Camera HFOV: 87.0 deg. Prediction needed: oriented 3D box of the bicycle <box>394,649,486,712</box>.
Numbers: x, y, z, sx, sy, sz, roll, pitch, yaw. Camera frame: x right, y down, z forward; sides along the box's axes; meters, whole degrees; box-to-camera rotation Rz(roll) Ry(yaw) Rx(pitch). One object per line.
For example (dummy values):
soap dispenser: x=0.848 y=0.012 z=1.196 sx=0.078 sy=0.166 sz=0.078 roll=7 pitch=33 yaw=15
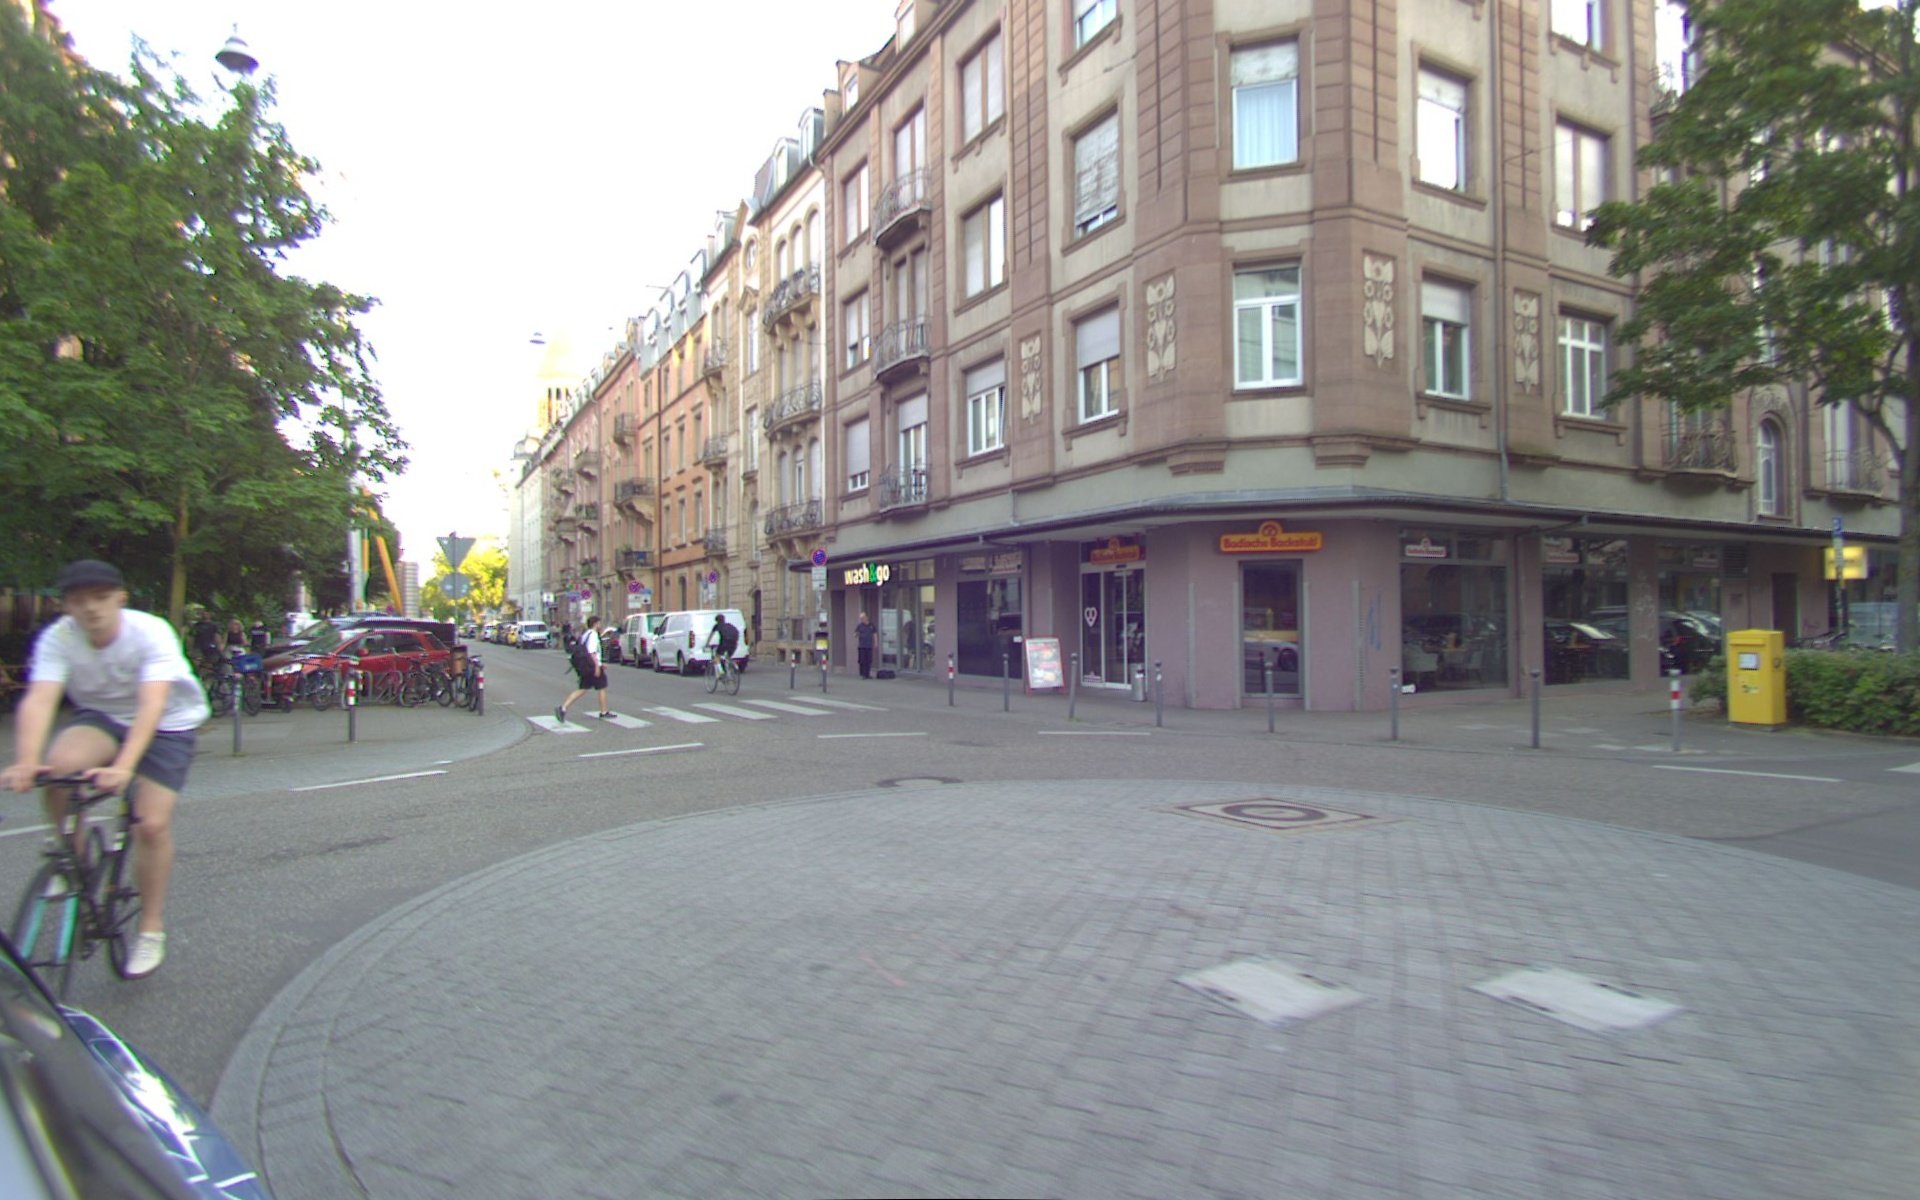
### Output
bicycle: x=-10.499 y=1.600 z=20.407 sx=2.110 sy=1.178 sz=0.658 roll=-1 pitch=-3 yaw=34

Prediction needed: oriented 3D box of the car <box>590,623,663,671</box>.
car: x=-14.036 y=1.911 z=42.437 sx=2.106 sy=1.835 sz=4.554 roll=-1 pitch=-1 yaw=-29

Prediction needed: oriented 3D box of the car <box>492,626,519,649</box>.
car: x=-37.844 y=3.061 z=84.223 sx=1.965 sy=1.752 sz=4.013 roll=-1 pitch=0 yaw=-26

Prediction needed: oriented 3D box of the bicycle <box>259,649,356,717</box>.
bicycle: x=-11.890 y=1.484 z=18.425 sx=2.110 sy=1.140 sz=0.658 roll=-1 pitch=-3 yaw=34

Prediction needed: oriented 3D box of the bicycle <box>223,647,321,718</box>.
bicycle: x=-12.198 y=1.435 z=17.923 sx=2.110 sy=1.174 sz=0.658 roll=-1 pitch=-3 yaw=34

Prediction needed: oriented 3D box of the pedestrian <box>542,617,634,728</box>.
pedestrian: x=-6.212 y=1.178 z=16.937 sx=0.747 sy=1.757 sz=1.198 roll=-2 pitch=-1 yaw=35

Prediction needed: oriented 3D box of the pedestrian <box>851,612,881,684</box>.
pedestrian: x=-2.417 y=1.217 z=25.971 sx=0.645 sy=1.792 sz=0.693 roll=-2 pitch=-2 yaw=-11

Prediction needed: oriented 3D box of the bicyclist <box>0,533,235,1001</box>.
bicyclist: x=-3.199 y=0.541 z=3.789 sx=0.639 sy=1.520 sz=0.956 roll=-1 pitch=0 yaw=-27

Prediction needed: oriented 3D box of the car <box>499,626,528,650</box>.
car: x=-35.273 y=2.996 z=79.883 sx=1.965 sy=1.752 sz=4.013 roll=-1 pitch=0 yaw=-26

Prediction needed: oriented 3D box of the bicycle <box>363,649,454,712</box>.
bicycle: x=-11.048 y=1.586 z=20.245 sx=2.110 sy=1.178 sz=0.658 roll=-1 pitch=-3 yaw=34

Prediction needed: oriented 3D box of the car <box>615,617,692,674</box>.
car: x=-11.287 y=1.615 z=37.106 sx=1.848 sy=1.918 sz=4.340 roll=-1 pitch=-1 yaw=-29

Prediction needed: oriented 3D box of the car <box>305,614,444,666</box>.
car: x=-27.038 y=1.782 z=46.883 sx=2.333 sy=2.211 sz=5.085 roll=-1 pitch=0 yaw=35

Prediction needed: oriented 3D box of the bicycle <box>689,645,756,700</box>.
bicycle: x=-5.270 y=1.576 z=22.332 sx=0.742 sy=1.139 sz=1.981 roll=0 pitch=-2 yaw=-35

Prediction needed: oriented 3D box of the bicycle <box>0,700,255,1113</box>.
bicycle: x=-3.221 y=0.989 z=3.826 sx=0.647 sy=1.026 sz=1.924 roll=-1 pitch=0 yaw=-27

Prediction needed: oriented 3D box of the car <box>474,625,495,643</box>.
car: x=-50.074 y=3.610 z=106.574 sx=1.897 sy=1.752 sz=3.909 roll=-1 pitch=0 yaw=-26

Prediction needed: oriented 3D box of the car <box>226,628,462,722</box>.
car: x=-13.085 y=1.516 z=21.748 sx=1.820 sy=1.680 sz=3.960 roll=-1 pitch=0 yaw=29

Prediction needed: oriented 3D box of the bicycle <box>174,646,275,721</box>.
bicycle: x=-12.612 y=1.402 z=17.332 sx=2.110 sy=1.174 sz=0.658 roll=-1 pitch=-3 yaw=34

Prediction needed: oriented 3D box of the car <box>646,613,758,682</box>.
car: x=-8.181 y=1.433 z=31.794 sx=2.106 sy=1.973 sz=4.783 roll=-1 pitch=-1 yaw=-31

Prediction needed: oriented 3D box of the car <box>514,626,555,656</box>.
car: x=-28.266 y=2.686 z=67.151 sx=2.106 sy=1.835 sz=4.555 roll=-1 pitch=-1 yaw=-27

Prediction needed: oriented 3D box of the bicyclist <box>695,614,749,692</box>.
bicyclist: x=-5.251 y=1.154 z=22.311 sx=0.742 sy=1.653 sz=1.204 roll=0 pitch=-2 yaw=-35

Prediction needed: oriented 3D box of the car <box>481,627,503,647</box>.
car: x=-45.111 y=3.526 z=97.500 sx=1.837 sy=1.752 sz=3.812 roll=-1 pitch=0 yaw=-26

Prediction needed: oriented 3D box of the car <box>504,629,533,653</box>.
car: x=-33.318 y=3.045 z=76.284 sx=1.810 sy=1.654 sz=3.938 roll=-1 pitch=0 yaw=-26

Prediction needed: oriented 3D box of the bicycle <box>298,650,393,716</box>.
bicycle: x=-11.556 y=1.530 z=19.023 sx=2.110 sy=1.140 sz=0.658 roll=-1 pitch=-3 yaw=34

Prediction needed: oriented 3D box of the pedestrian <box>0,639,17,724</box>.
pedestrian: x=-14.992 y=1.252 z=15.413 sx=0.633 sy=1.282 sz=0.673 roll=-1 pitch=0 yaw=9

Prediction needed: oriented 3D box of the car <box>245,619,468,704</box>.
car: x=-17.186 y=1.649 z=29.081 sx=2.113 sy=2.113 sz=5.085 roll=-1 pitch=0 yaw=35

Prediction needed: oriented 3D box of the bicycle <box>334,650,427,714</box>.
bicycle: x=-11.233 y=1.566 z=19.600 sx=2.110 sy=1.140 sz=0.658 roll=-1 pitch=-3 yaw=34

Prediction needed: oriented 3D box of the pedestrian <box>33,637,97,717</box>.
pedestrian: x=-15.200 y=1.286 z=17.185 sx=0.751 sy=1.315 sz=0.711 roll=-2 pitch=-2 yaw=41
